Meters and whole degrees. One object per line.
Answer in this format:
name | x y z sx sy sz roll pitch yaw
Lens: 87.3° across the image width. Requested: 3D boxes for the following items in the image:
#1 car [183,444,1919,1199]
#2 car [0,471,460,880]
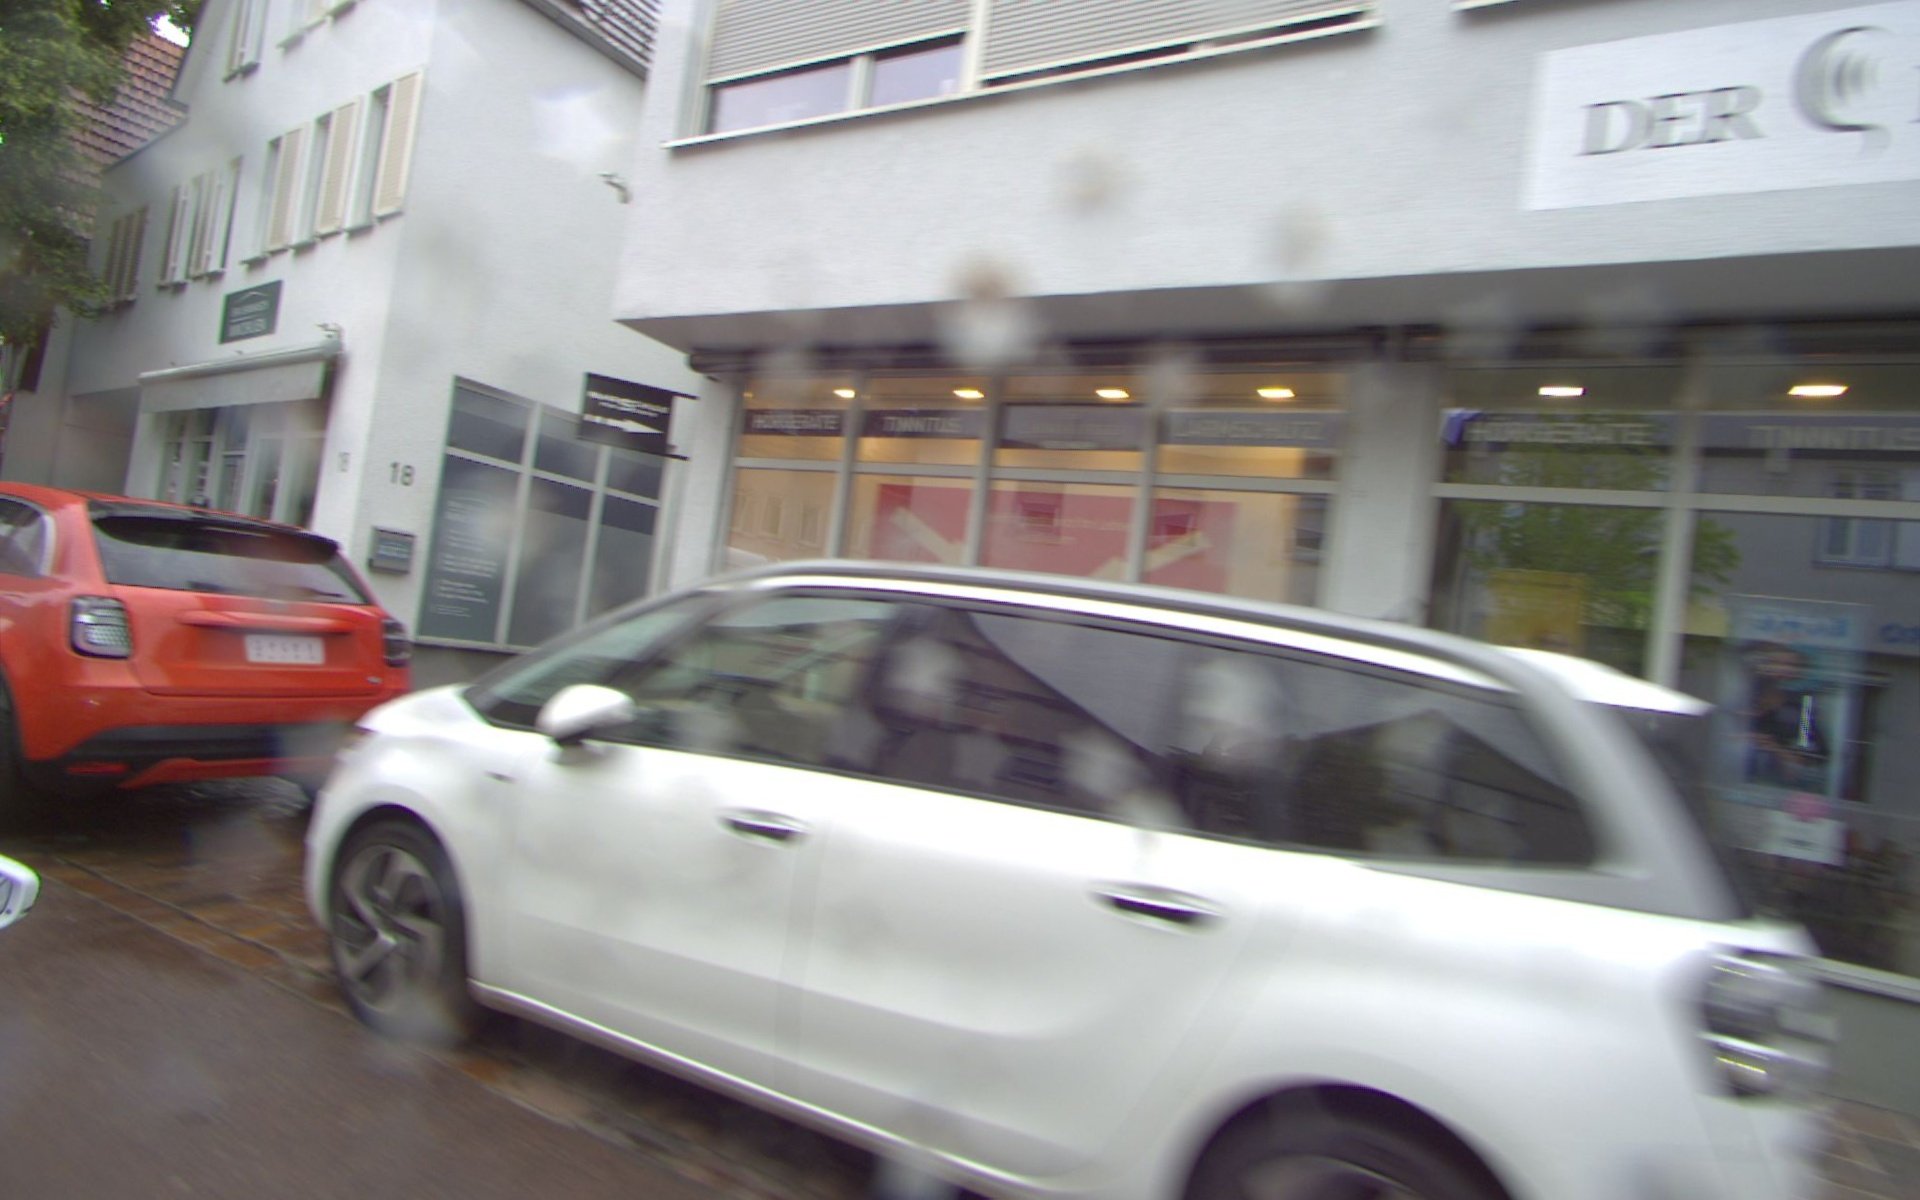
car | -0.203 0.632 3.311 4.389 1.650 1.781 8 -1 25
car | -4.788 0.169 5.465 3.732 1.547 1.682 7 -1 27
